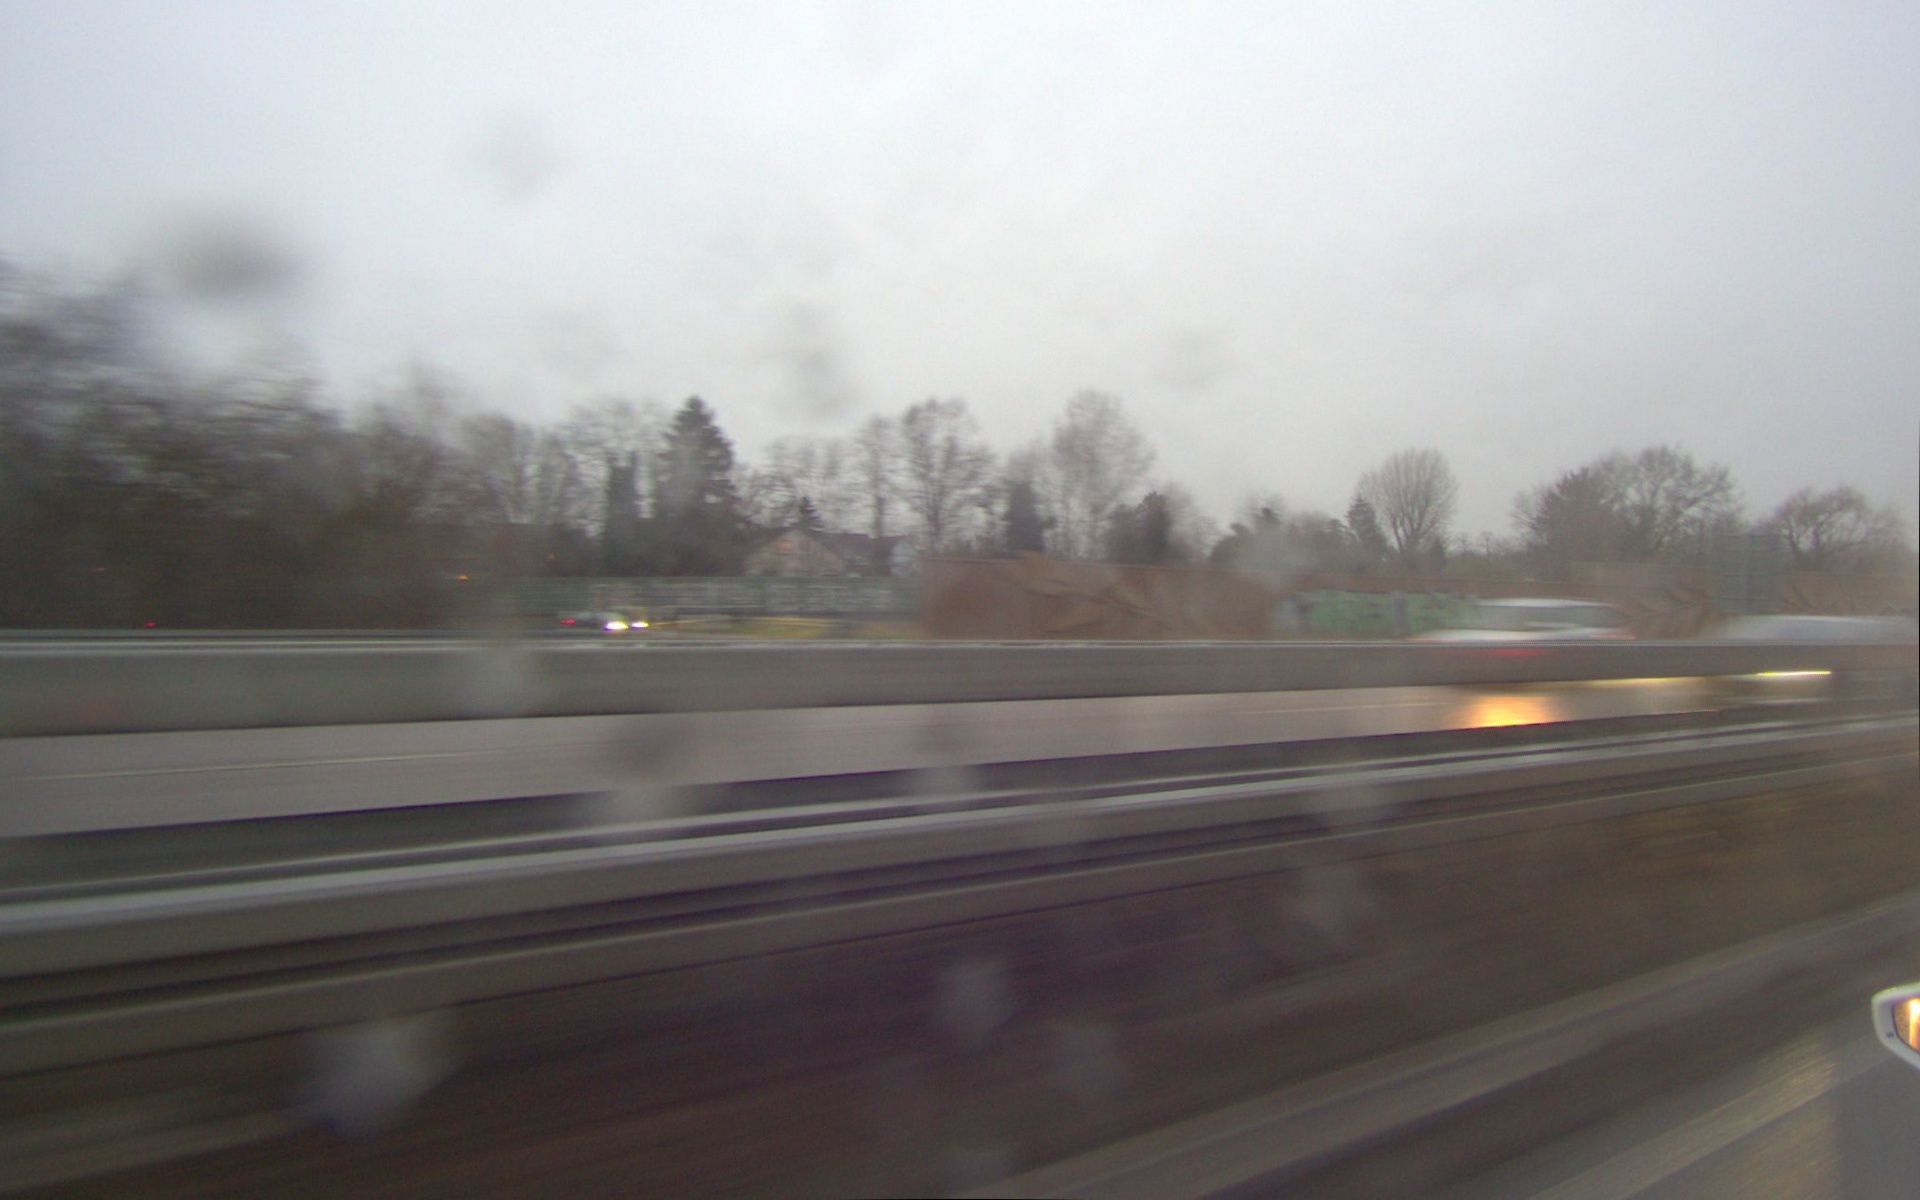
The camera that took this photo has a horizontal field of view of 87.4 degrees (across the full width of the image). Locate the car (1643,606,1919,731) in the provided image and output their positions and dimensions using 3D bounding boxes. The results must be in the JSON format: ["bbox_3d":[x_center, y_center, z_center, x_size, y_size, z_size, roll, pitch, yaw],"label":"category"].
[{"bbox_3d":[11.708,0.877,13.993,4.592,1.469,1.857,2,0,-31],"label":"car"}]

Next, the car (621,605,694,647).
[{"bbox_3d":[-12.467,1.046,41.234,1.871,1.539,3.965,1,0,-32],"label":"car"}]

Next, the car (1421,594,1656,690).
[{"bbox_3d":[11.224,0.777,19.410,4.724,1.649,1.857,2,0,-31],"label":"car"}]
